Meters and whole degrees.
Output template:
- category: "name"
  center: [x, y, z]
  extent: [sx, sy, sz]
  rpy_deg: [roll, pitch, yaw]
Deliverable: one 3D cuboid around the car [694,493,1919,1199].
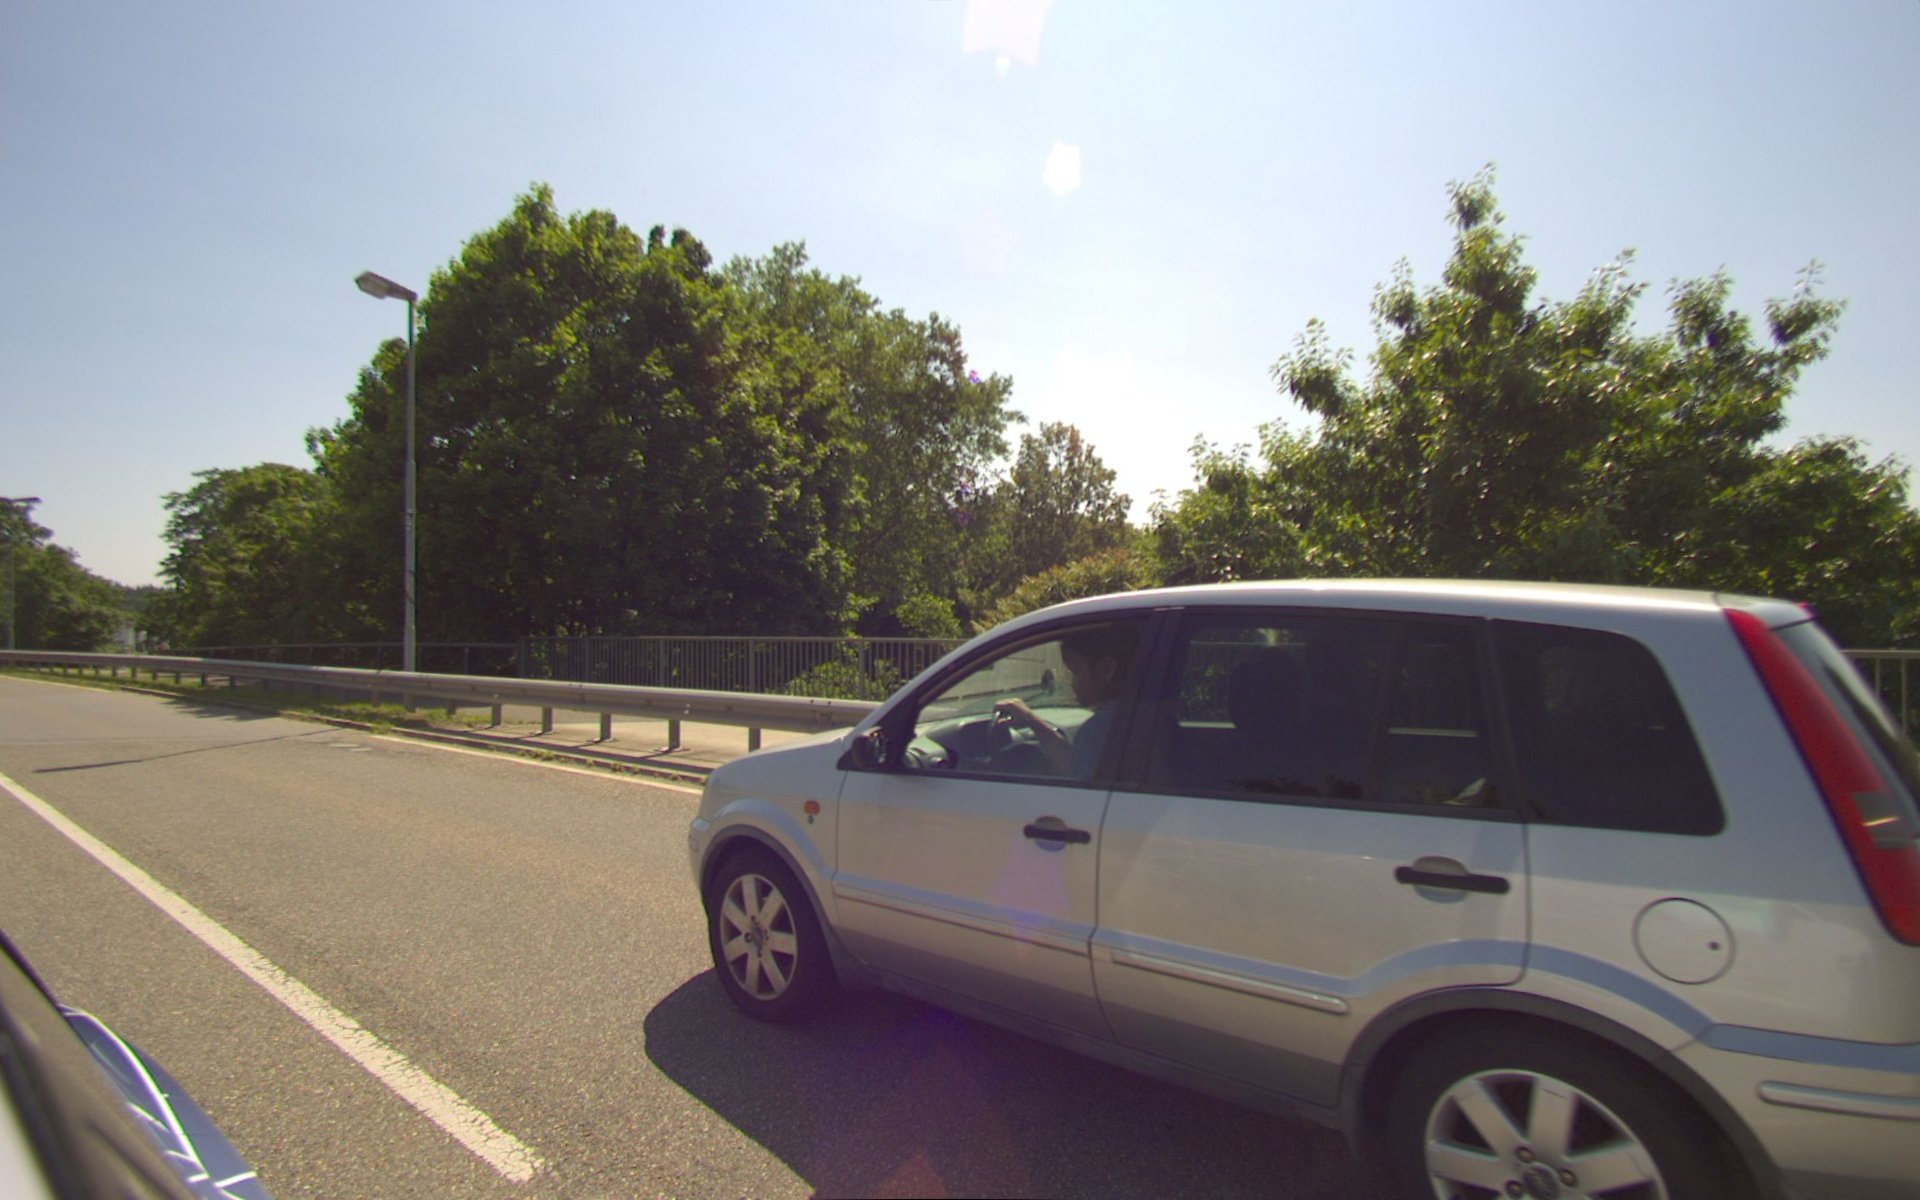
- category: "car"
  center: [0.929, 0.611, 3.141]
  extent: [3.664, 1.528, 1.650]
  rpy_deg: [-1, 0, 42]
